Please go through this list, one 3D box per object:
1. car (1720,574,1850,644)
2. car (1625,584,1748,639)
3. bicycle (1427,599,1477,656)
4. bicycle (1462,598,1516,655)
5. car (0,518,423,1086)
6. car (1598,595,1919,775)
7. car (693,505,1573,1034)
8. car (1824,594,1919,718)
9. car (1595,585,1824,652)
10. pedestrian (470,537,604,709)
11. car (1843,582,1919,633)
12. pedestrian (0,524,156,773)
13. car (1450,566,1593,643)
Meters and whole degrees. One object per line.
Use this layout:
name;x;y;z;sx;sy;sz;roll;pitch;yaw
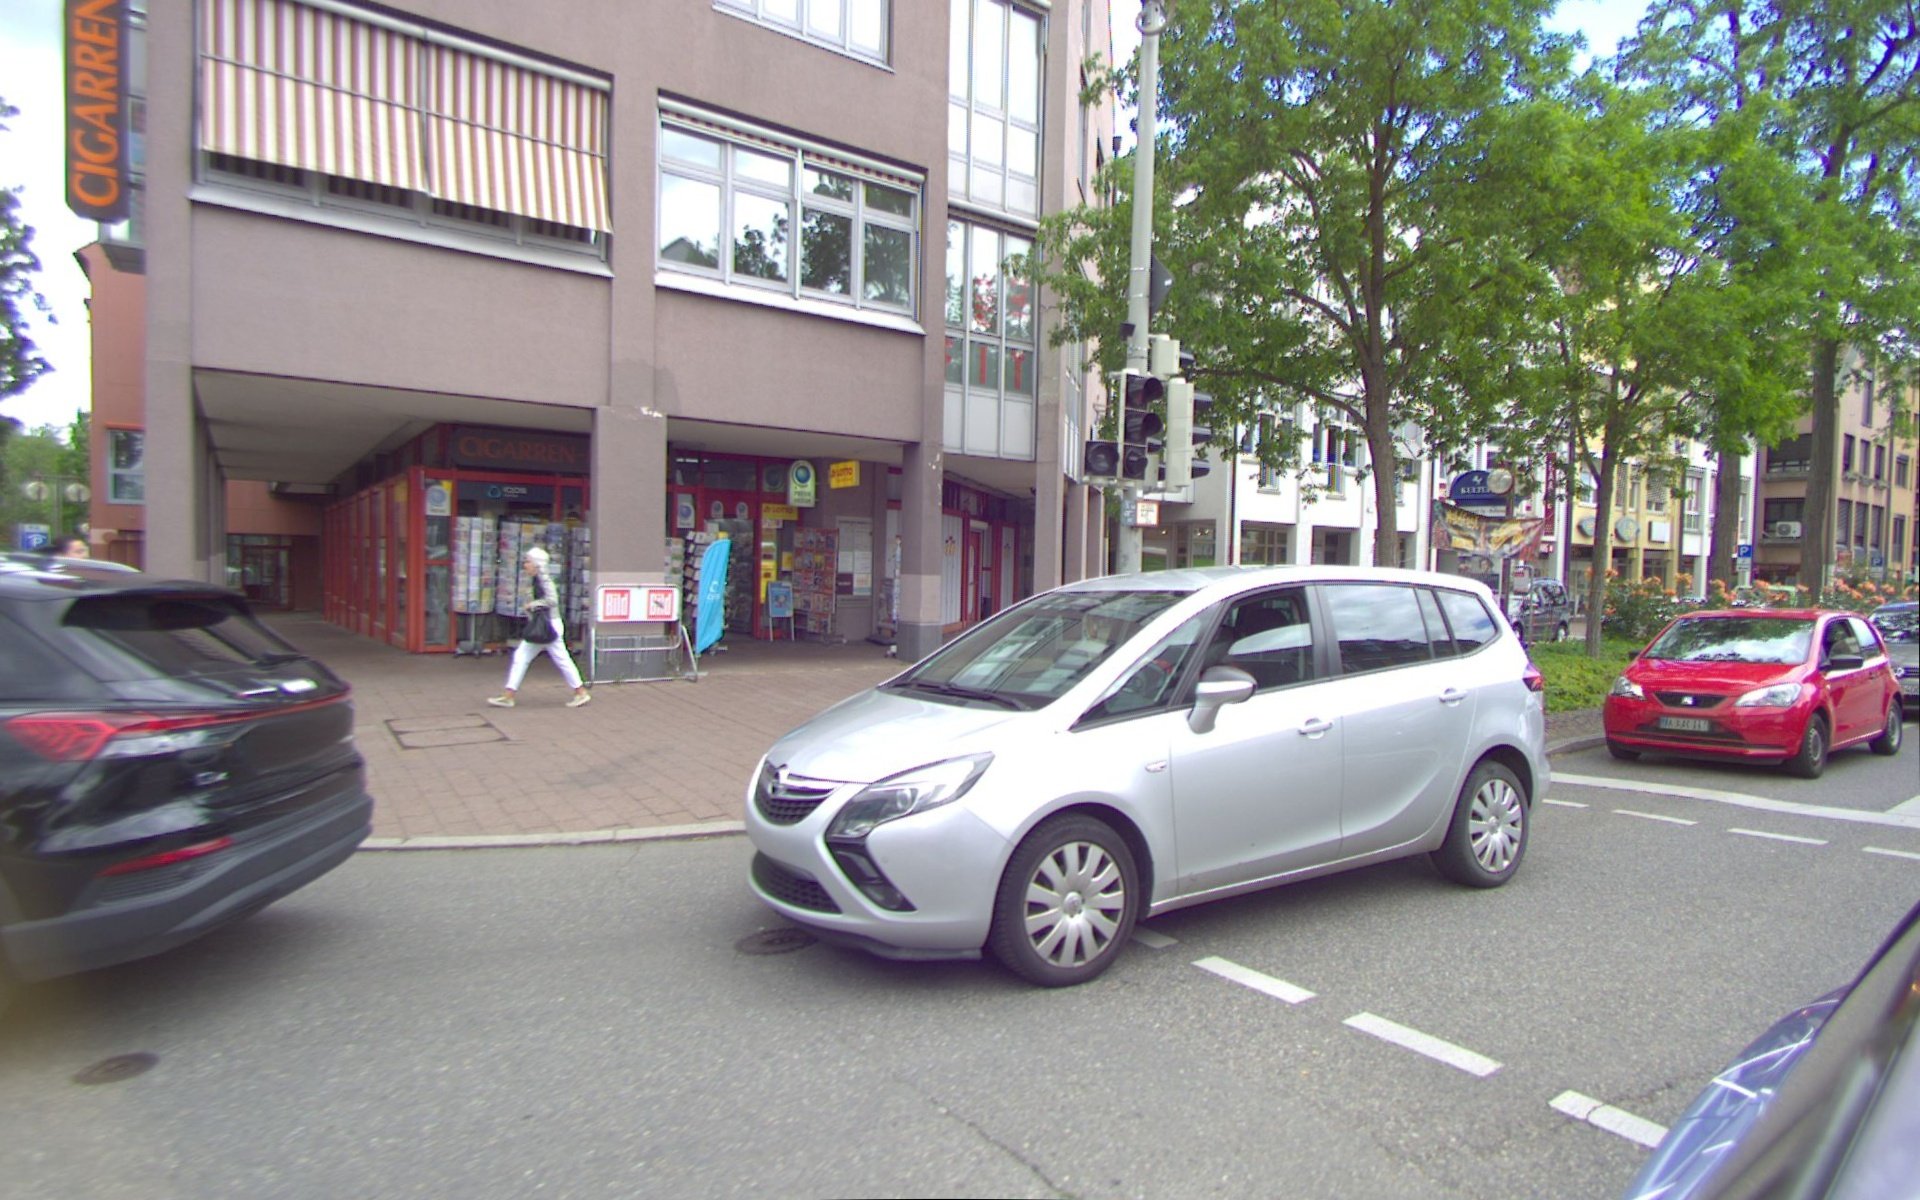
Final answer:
car;25.146;0.215;30.803;4.667;1.899;2.000;-1;4;-38
car;23.698;0.318;32.954;4.668;1.566;1.999;-1;4;-39
bicycle;10.171;0.548;20.972;0.400;1.061;1.567;1;2;6
bicycle;10.716;0.515;20.555;0.400;1.061;1.567;1;2;6
car;-4.775;0.554;3.545;4.761;1.629;1.860;1;0;-9
car;7.996;0.692;10.003;3.573;1.466;1.632;0;0;-35
car;1.022;0.545;5.138;4.293;1.722;1.747;0;0;-30
car;13.566;0.707;13.896;3.926;1.549;1.802;0;0;-37
car;20.142;0.427;27.421;1.707;1.471;4.655;0;3;-35
pedestrian;-4.328;0.204;10.356;1.073;1.646;0.811;0;2;-38
car;34.848;0.350;36.168;1.966;1.699;4.745;1;3;-43
pedestrian;-6.326;0.307;7.192;0.936;1.646;0.743;0;2;-38
car;14.852;0.084;26.696;4.183;1.826;1.739;0;3;-38
